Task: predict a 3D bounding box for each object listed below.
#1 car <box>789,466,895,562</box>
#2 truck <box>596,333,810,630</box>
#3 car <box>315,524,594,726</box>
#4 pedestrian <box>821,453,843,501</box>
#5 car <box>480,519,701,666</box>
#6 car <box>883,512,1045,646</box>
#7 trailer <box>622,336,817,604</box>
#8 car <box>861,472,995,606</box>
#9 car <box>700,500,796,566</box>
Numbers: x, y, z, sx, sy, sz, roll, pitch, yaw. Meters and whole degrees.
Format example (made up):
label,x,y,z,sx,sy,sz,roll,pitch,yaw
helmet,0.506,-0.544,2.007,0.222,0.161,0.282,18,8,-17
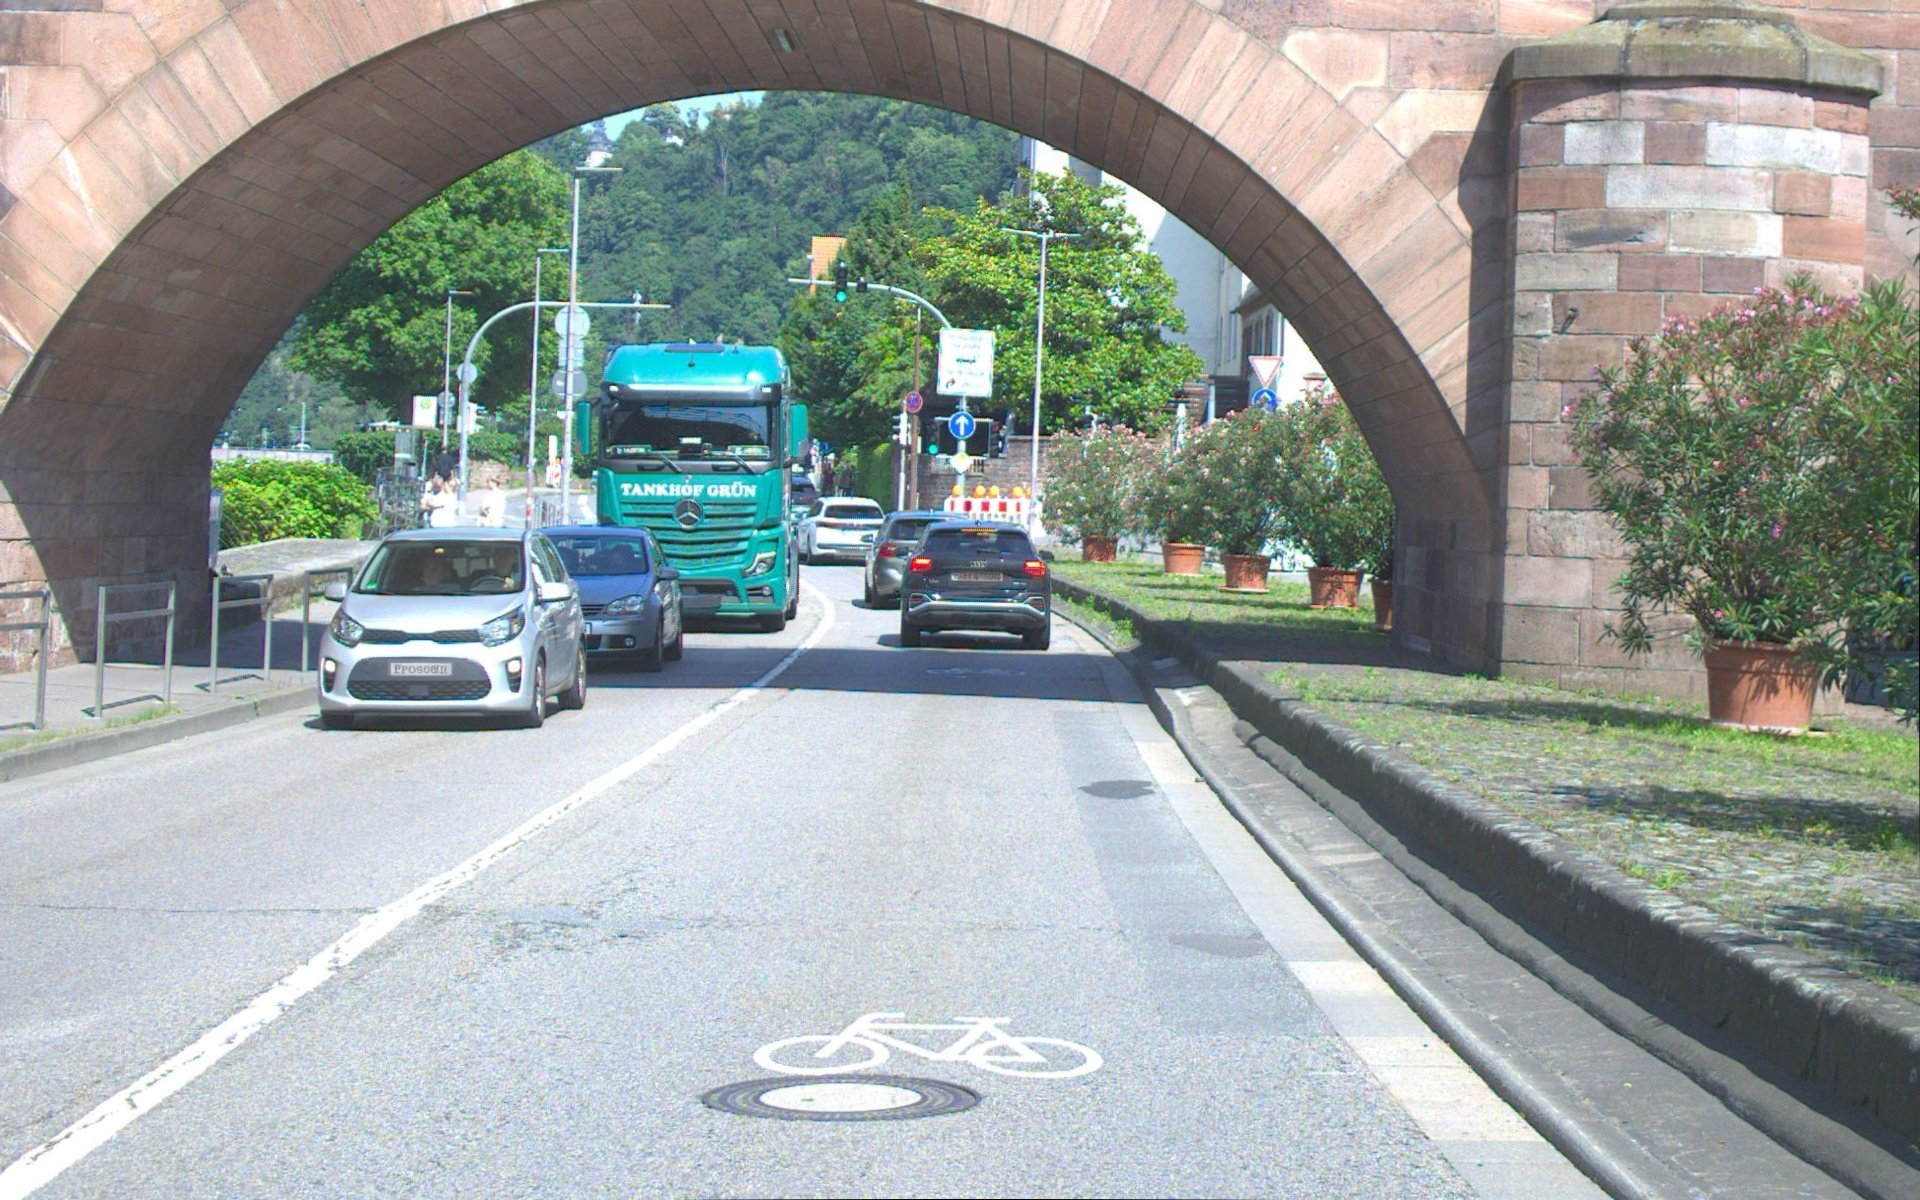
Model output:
label,x,y,z,sx,sy,sz,roll,pitch,yaw
car,-2.613,-1.858,75.169,1.993,2.007,4.001,1,1,-6
truck,-3.378,-1.616,46.450,2.523,3.735,6.247,0,2,-1
car,-3.783,0.145,26.234,1.535,1.432,3.728,0,1,1
pedestrian,-4.718,-4.511,126.380,0.680,1.736,0.913,2,1,-5
car,-3.759,-0.113,35.625,1.723,1.432,4.400,0,1,1
car,0.083,-0.287,41.840,1.857,1.518,4.000,1,1,1
trailer,-3.520,-1.962,52.560,2.523,3.631,11.533,0,2,-2
car,-0.546,-0.955,54.376,1.993,2.007,4.000,1,1,-2
car,-5.705,-1.792,92.203,1.993,1.656,4.001,2,0,-11
